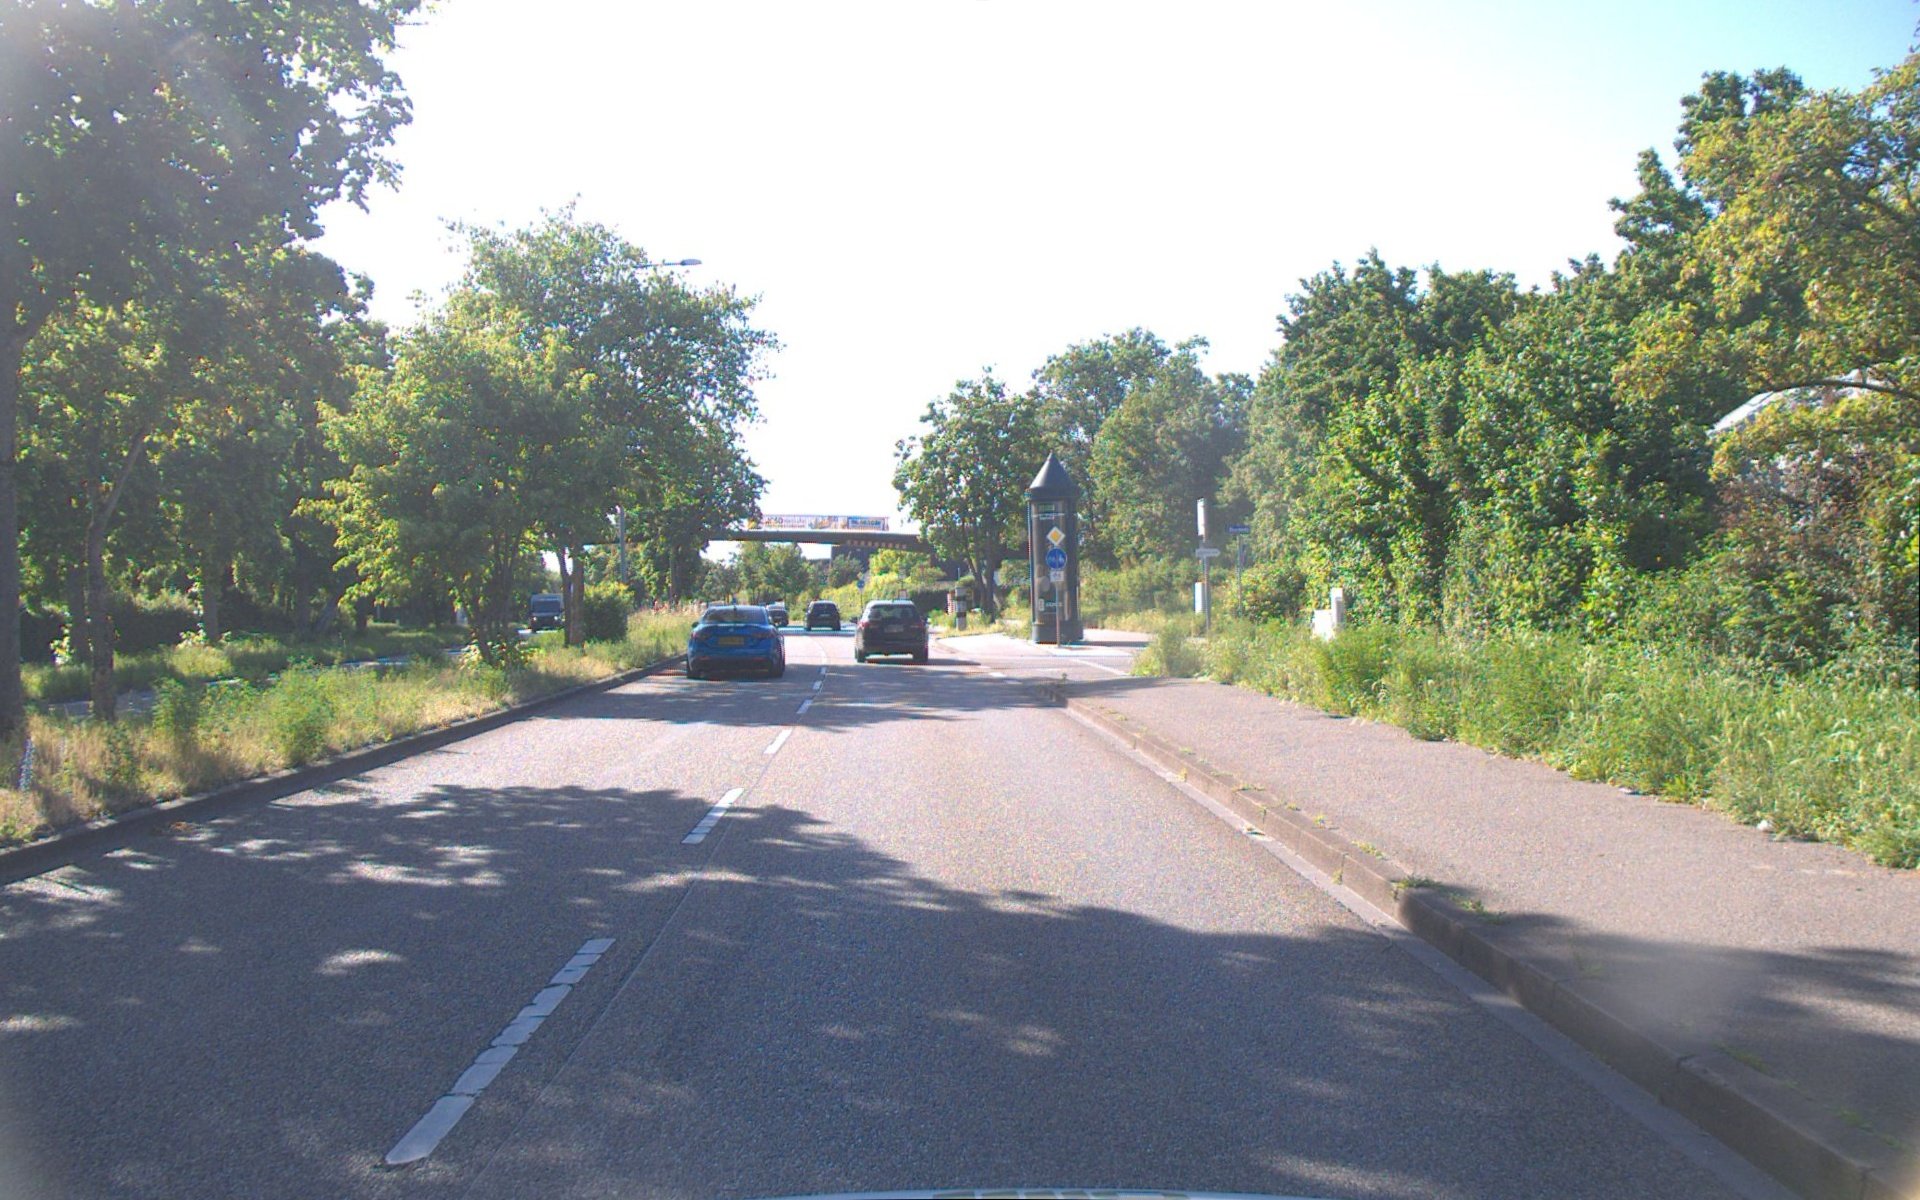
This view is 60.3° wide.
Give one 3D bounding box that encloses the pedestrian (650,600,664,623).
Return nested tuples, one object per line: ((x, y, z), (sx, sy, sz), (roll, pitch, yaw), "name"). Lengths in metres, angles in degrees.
((-22.211, 0.844, 121.224), (0.617, 1.726, 0.943), (-1, 0, 17), "pedestrian")

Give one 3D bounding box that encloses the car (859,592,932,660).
((-1.641, 0.660, 41.156), (1.725, 1.587, 3.997), (0, -1, -4), "car")

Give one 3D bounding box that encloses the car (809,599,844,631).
((-7.128, 0.771, 87.930), (1.711, 1.625, 4.168), (-1, 0, -7), "car")

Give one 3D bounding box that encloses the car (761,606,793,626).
((-13.502, 1.160, 121.971), (1.866, 1.379, 3.986), (-1, 0, -14), "car")

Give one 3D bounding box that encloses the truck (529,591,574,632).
((-27.457, 0.724, 111.353), (2.132, 2.556, 5.732), (-3, 0, -7), "truck")

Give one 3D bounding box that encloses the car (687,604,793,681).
((-4.424, 0.816, 33.722), (1.956, 1.429, 3.996), (0, 0, -5), "car")

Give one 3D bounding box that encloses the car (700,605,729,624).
((-19.006, 1.116, 128.010), (1.866, 1.379, 3.986), (-1, 0, -14), "car")
